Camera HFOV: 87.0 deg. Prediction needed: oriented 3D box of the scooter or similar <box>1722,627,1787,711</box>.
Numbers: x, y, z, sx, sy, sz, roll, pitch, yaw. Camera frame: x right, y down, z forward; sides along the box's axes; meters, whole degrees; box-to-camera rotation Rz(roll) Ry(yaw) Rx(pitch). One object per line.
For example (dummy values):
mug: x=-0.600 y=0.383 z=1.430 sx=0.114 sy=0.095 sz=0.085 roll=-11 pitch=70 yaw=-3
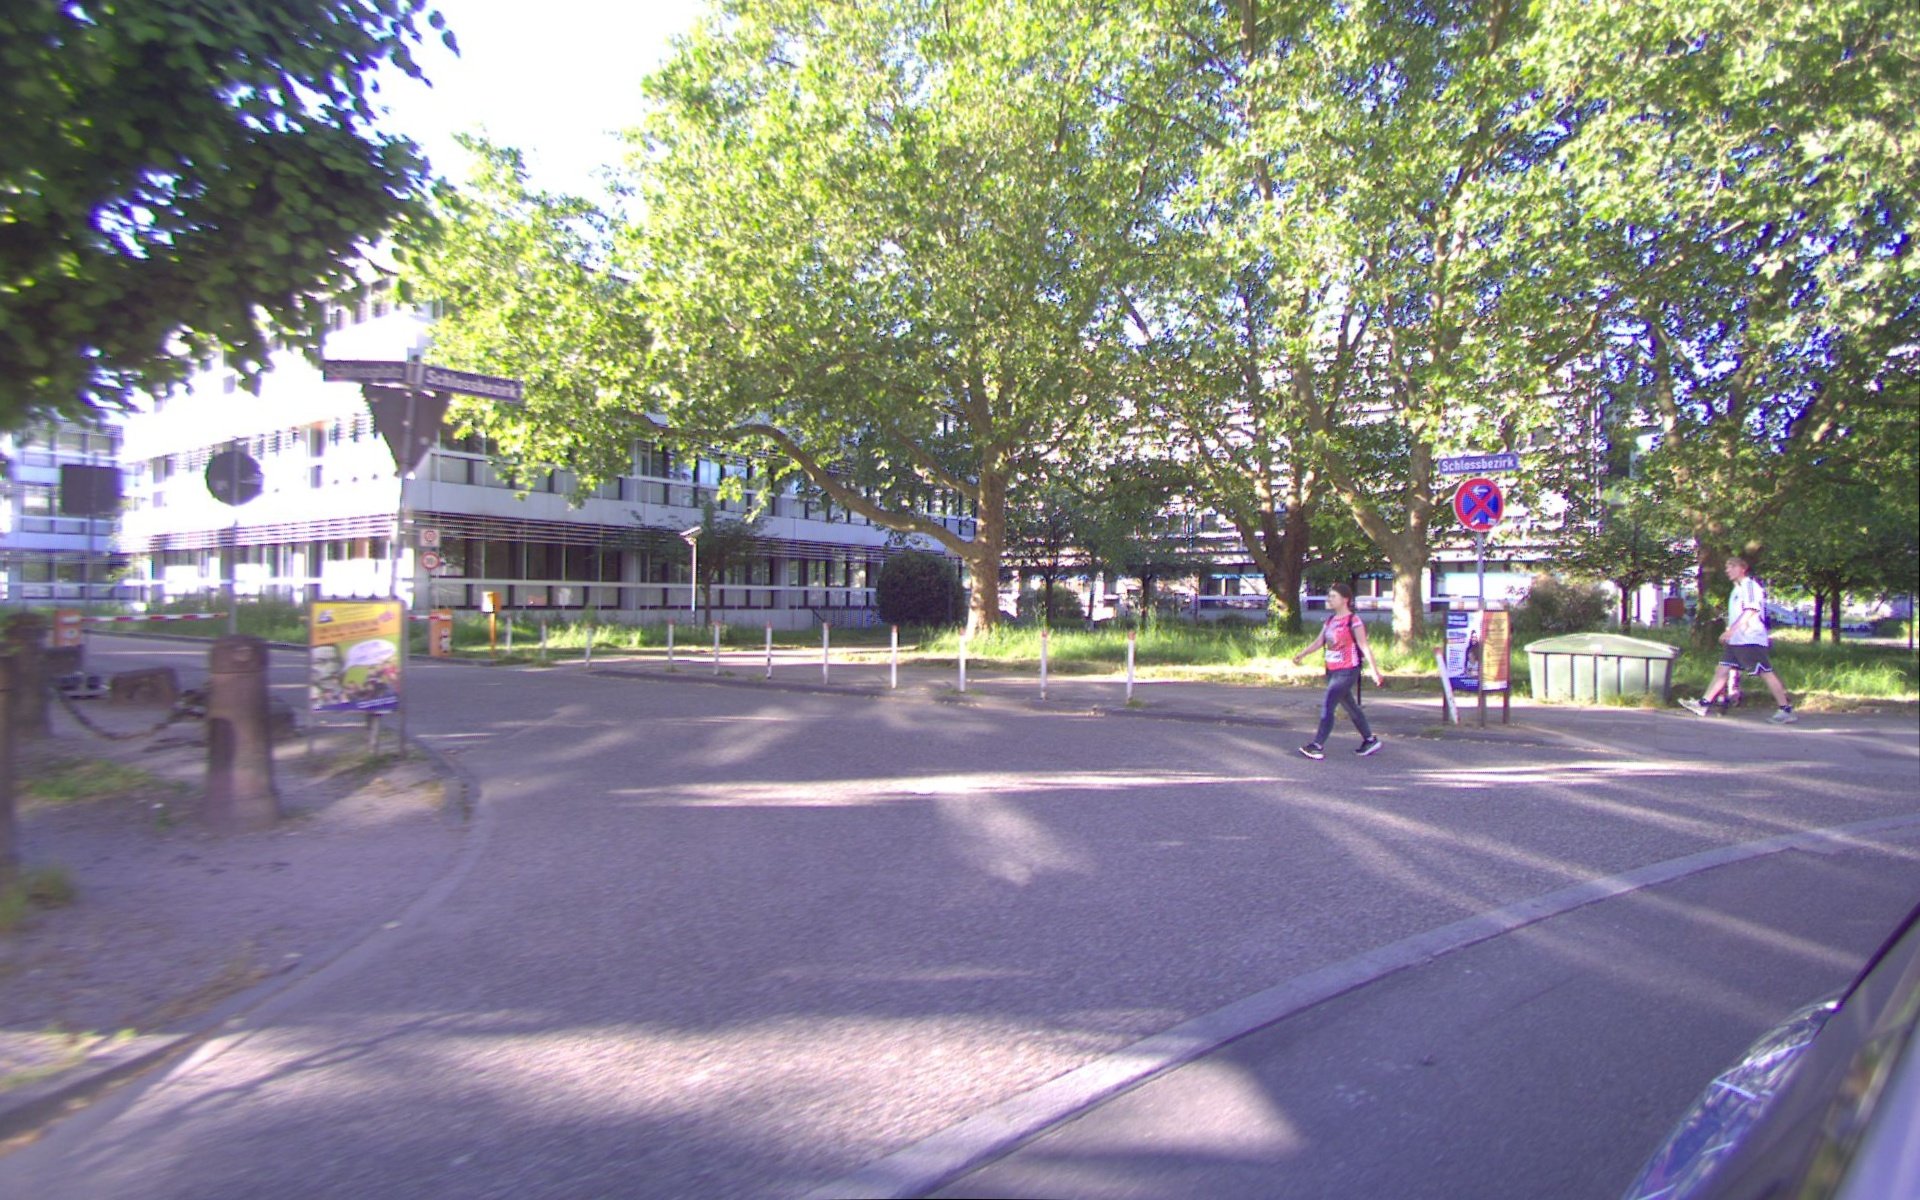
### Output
scooter or similar: x=9.775 y=0.823 z=12.475 sx=0.415 sy=0.925 sz=1.139 roll=-1 pitch=1 yaw=28

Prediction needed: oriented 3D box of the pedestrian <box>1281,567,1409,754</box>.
pedestrian: x=3.521 y=0.532 z=9.315 sx=0.922 sy=1.644 sz=0.710 roll=0 pitch=-1 yaw=4

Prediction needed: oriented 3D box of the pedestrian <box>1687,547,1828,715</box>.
pedestrian: x=9.129 y=0.340 z=11.634 sx=1.121 sy=1.836 sz=0.741 roll=1 pitch=-1 yaw=25
